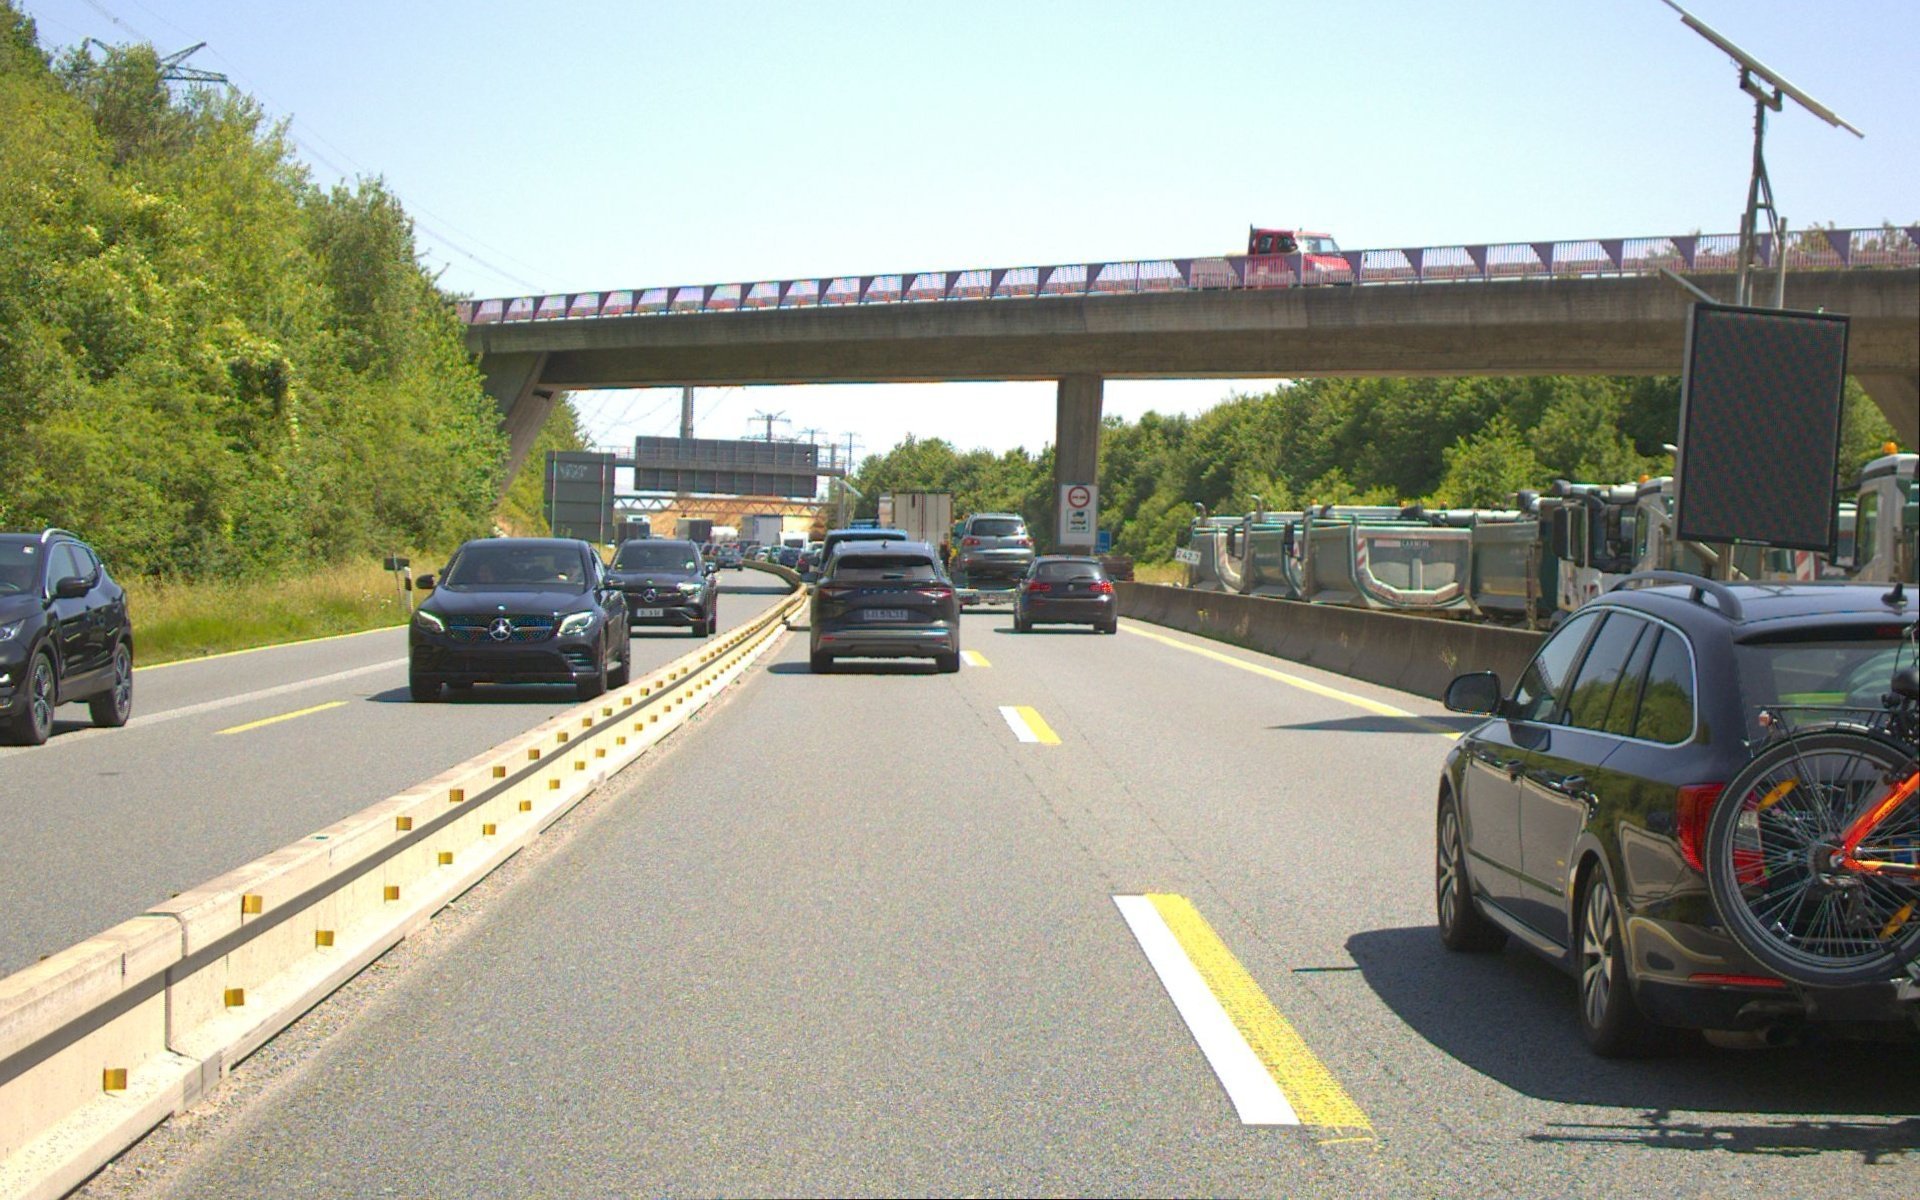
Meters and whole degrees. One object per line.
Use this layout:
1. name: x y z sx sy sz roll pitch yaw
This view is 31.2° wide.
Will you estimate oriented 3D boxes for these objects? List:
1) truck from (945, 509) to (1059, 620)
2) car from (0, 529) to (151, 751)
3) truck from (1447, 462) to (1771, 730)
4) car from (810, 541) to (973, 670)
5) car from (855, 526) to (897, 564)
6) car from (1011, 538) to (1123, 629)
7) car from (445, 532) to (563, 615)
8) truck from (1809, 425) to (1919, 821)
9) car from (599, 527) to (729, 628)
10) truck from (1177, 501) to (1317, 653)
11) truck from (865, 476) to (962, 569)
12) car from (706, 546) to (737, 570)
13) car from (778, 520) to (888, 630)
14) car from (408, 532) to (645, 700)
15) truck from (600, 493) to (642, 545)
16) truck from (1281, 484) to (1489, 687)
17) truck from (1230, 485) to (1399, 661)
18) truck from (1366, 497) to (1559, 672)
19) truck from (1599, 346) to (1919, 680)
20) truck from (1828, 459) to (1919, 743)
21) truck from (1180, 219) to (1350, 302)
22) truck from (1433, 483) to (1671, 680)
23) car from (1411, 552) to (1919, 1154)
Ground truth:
1. truck: 0.959 -0.918 84.359 2.405 2.549 7.501 1 1 -2
2. car: -7.516 0.237 26.390 1.699 1.560 3.995 1 1 -1
3. truck: 9.359 -0.136 50.738 2.687 3.545 9.326 1 1 -2
4. car: -0.819 0.034 42.982 1.899 1.500 4.276 1 1 0
5. car: -4.514 -2.931 184.194 1.899 1.962 4.277 1 1 -6
6. car: 1.943 -0.325 63.697 1.899 1.580 4.276 1 1 0
7. car: -8.771 -0.531 66.378 1.723 1.516 4.185 1 1 0
8. truck: 9.950 0.236 29.969 2.687 3.545 9.406 1 1 0
9. car: -5.052 -0.418 59.174 1.843 1.605 4.699 2 1 -1
10. truck: 7.645 -0.670 92.769 2.687 3.830 9.326 1 1 -2
11. truck: -2.082 -3.354 149.359 3.292 3.832 10.112 1 1 -6
12. car: -14.639 -2.572 211.003 1.673 1.388 4.071 1 1 -2
13. car: -2.357 -0.482 64.704 1.899 1.962 4.276 1 1 0
14. car: -4.332 0.107 35.009 1.843 1.528 4.671 2 1 -1
15. truck: -21.525 -5.084 218.036 2.508 3.175 10.112 1 1 -6
16. truck: 8.367 -0.348 68.804 2.687 3.748 9.326 1 1 -2
17. truck: 8.174 -0.669 80.406 2.687 3.842 9.326 1 1 -2
18. truck: 11.330 -0.421 78.393 2.687 3.714 9.326 1 1 -2
19. truck: 10.084 -0.998 41.407 2.687 3.545 9.326 1 1 -2
20. truck: 12.754 0.047 39.633 2.687 3.366 9.604 1 1 -2
21. truck: 9.221 -10.286 104.552 1.931 2.059 5.514 1 1 -37
22. truck: 11.409 -0.419 67.167 2.687 3.545 9.326 1 1 -2
23. car: 2.741 0.617 11.012 1.899 1.485 4.947 1 1 0
